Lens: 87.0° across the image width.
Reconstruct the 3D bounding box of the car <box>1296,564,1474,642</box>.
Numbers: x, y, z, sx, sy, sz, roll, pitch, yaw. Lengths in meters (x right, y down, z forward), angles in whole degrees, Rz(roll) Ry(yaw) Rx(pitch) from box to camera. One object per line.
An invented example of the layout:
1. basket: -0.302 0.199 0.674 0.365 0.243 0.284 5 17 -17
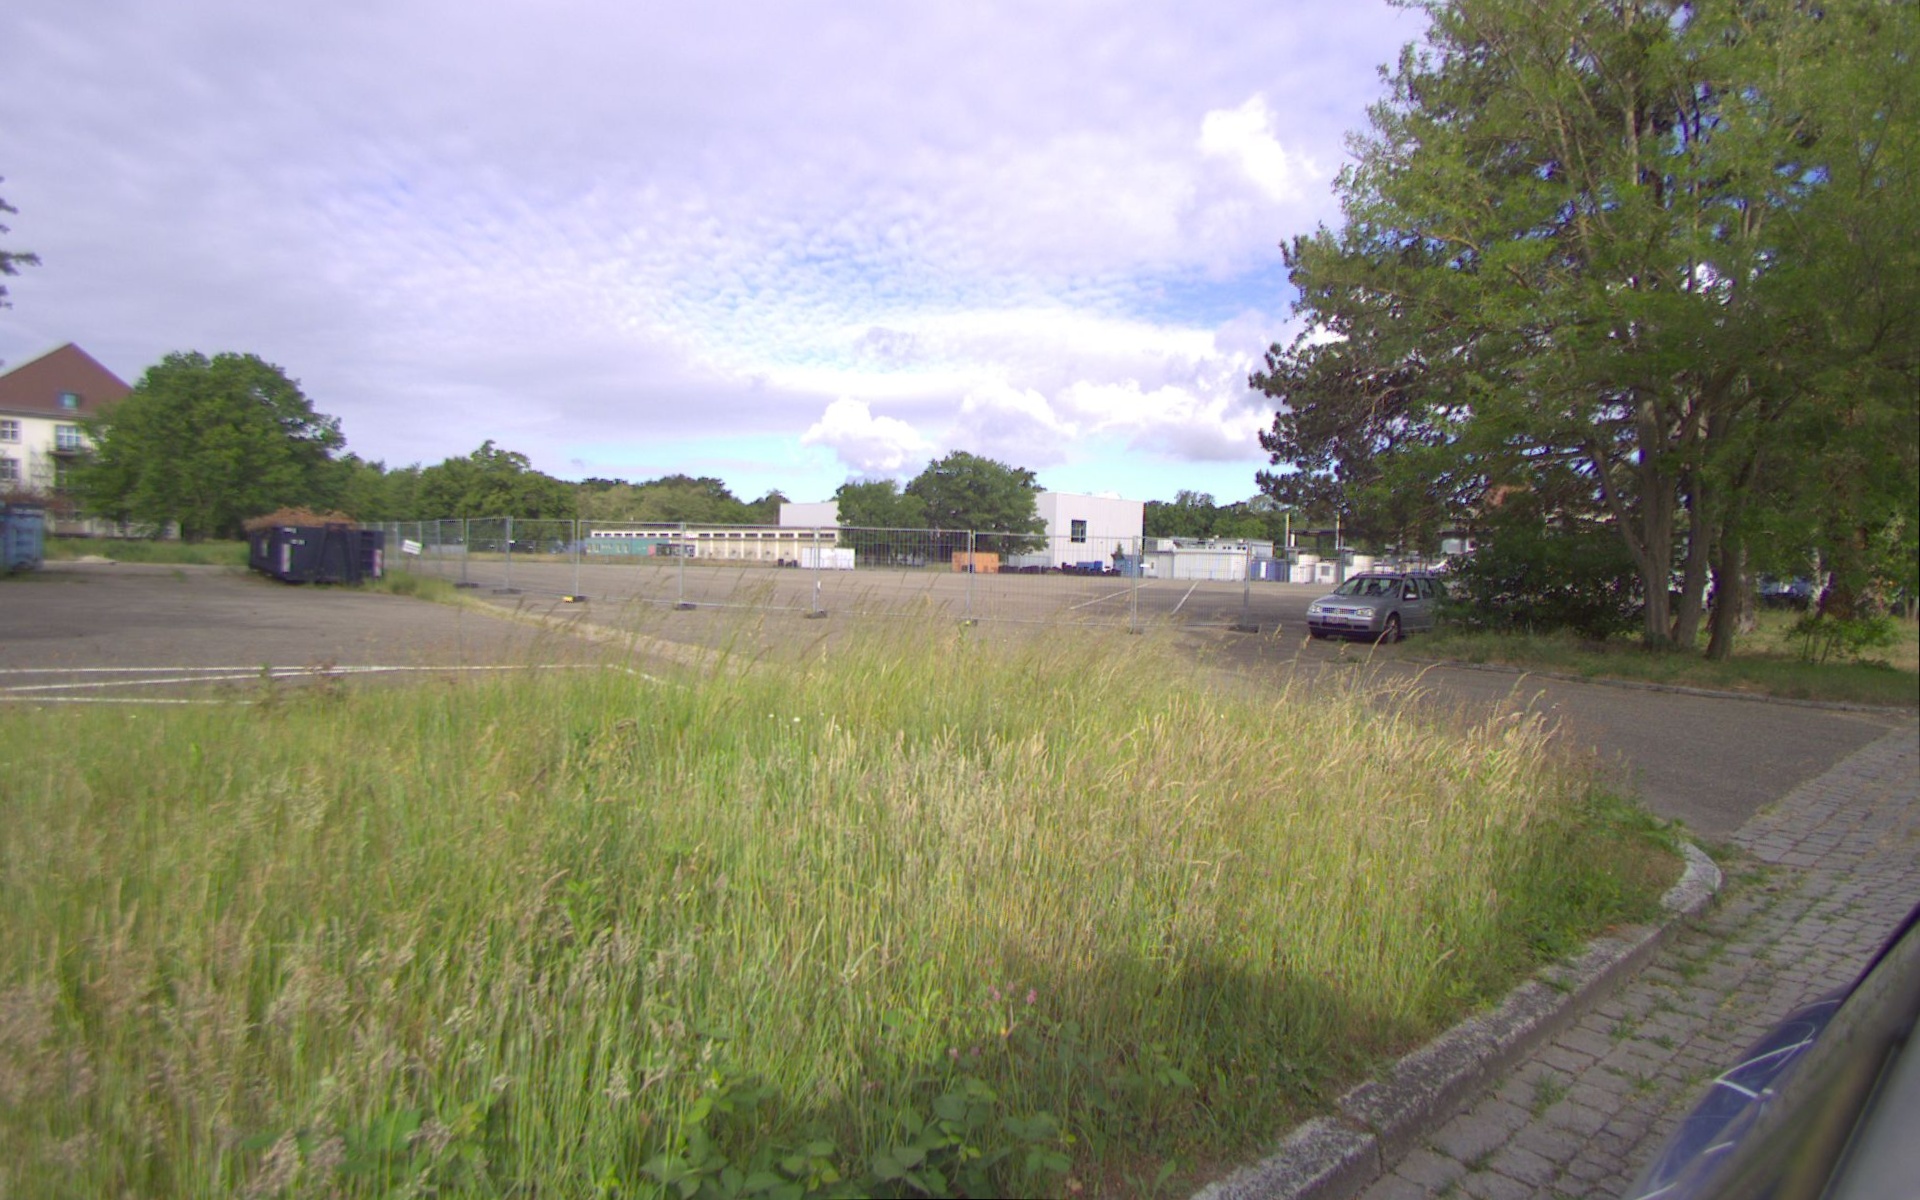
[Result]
1. car: 9.233 0.034 21.842 4.250 1.466 1.759 0 3 -40
